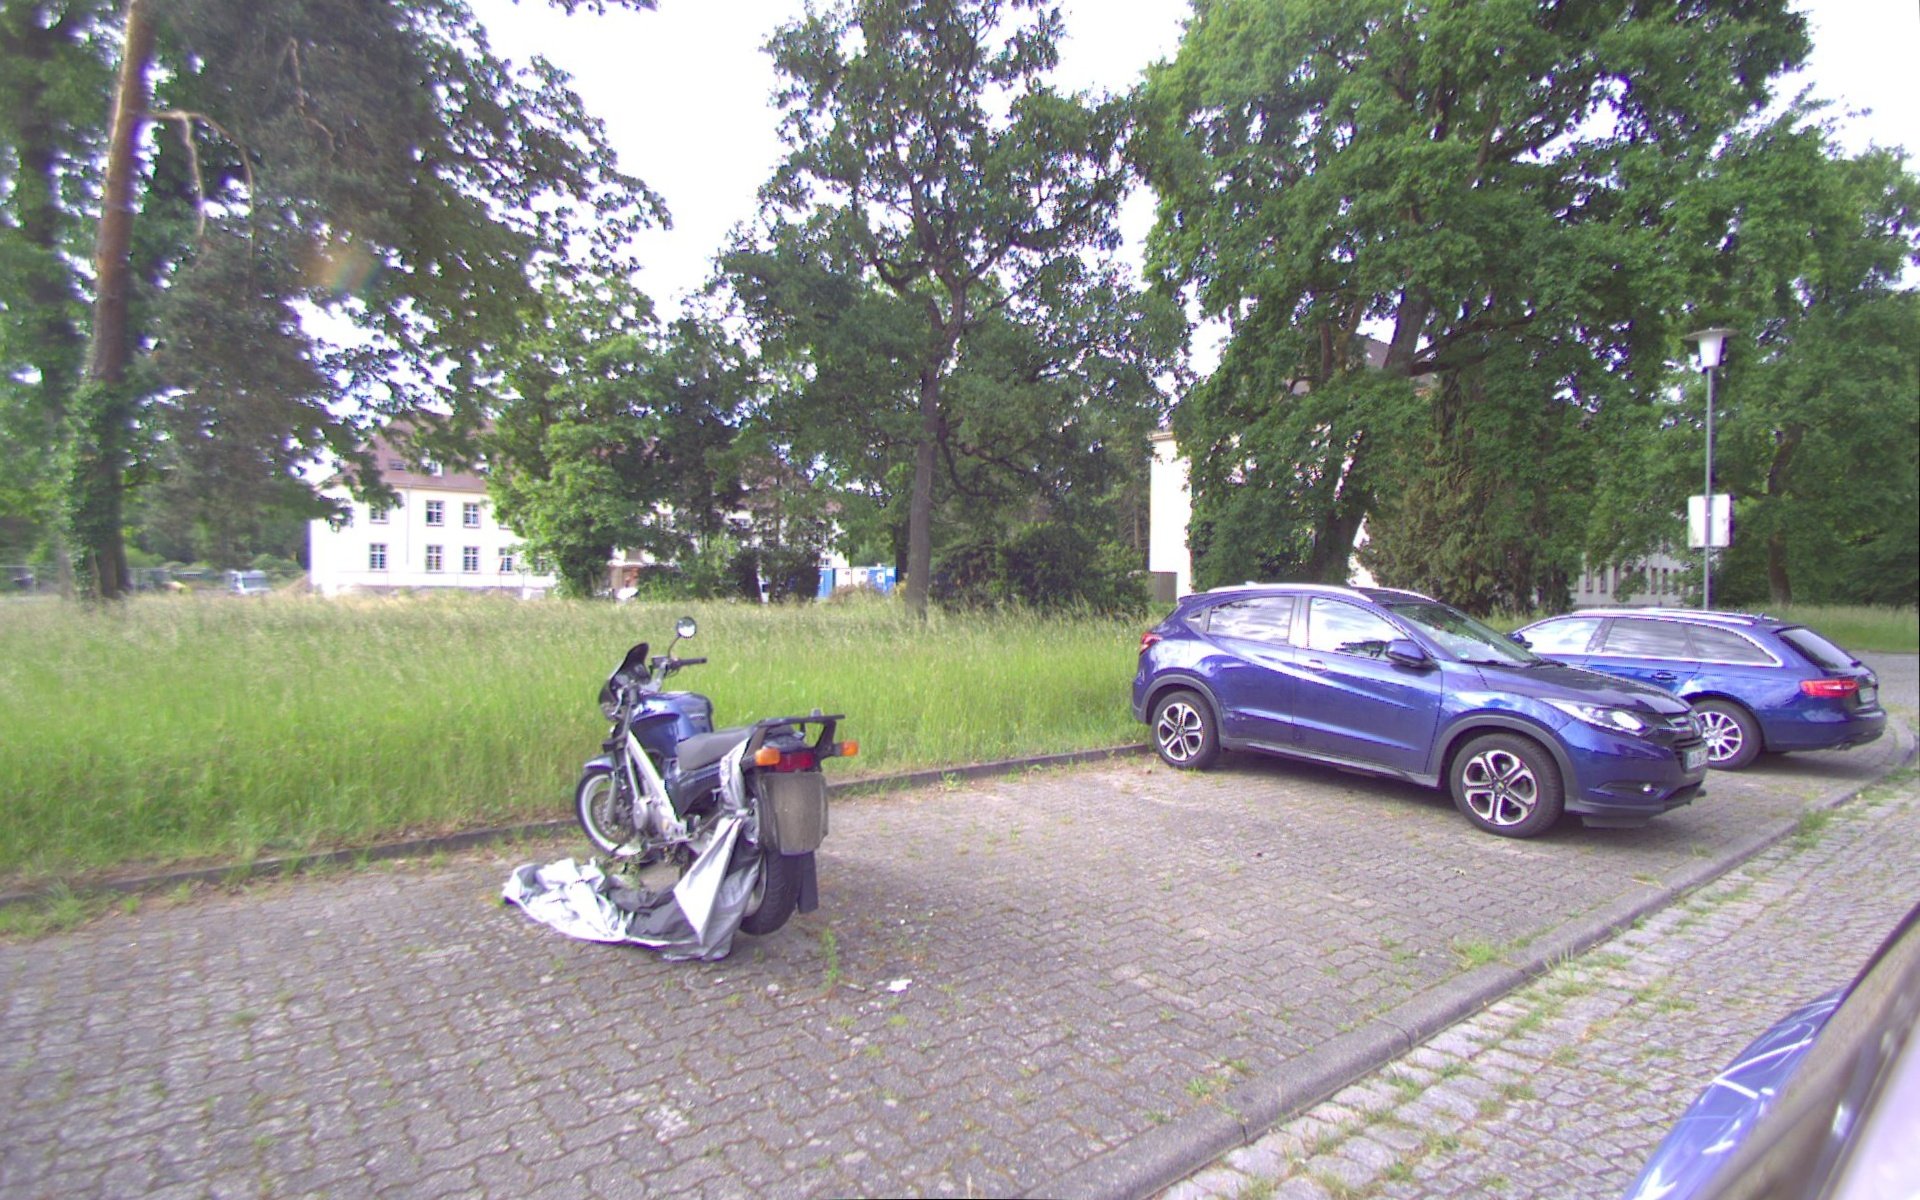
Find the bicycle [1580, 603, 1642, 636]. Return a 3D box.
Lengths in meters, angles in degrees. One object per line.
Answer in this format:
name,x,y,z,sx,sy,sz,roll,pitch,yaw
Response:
bicycle,23.458,0.694,36.509,1.840,1.137,0.616,0,0,29

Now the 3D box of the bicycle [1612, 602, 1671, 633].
bicycle,26.292,0.667,39.065,1.840,1.137,0.616,0,0,29

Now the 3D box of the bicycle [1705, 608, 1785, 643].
bicycle,25.389,0.821,32.772,1.952,1.090,0.583,0,0,24

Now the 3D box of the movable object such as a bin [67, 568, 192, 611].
movable object such as a bin,-53.099,-0.668,64.841,5.852,2.688,2.180,0,0,-14

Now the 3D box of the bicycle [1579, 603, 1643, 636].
bicycle,23.122,0.697,35.969,1.840,1.137,0.616,0,0,29

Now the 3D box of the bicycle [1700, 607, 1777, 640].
bicycle,26.261,0.778,34.167,1.952,1.090,0.583,0,0,24

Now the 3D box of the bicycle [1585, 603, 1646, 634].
bicycle,24.487,0.687,37.831,1.840,1.137,0.616,0,0,29

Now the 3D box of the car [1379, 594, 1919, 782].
car,7.042,0.726,10.803,1.751,1.439,4.485,0,2,-36

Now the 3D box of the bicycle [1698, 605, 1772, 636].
bicycle,27.492,0.719,35.940,2.011,1.090,0.616,0,0,29

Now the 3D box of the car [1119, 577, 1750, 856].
car,3.400,0.618,7.972,1.761,1.591,4.172,-1,2,-39

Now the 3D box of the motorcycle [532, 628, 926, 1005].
motorcycle,-1.202,0.802,4.733,0.781,1.200,2.331,0,2,-41
